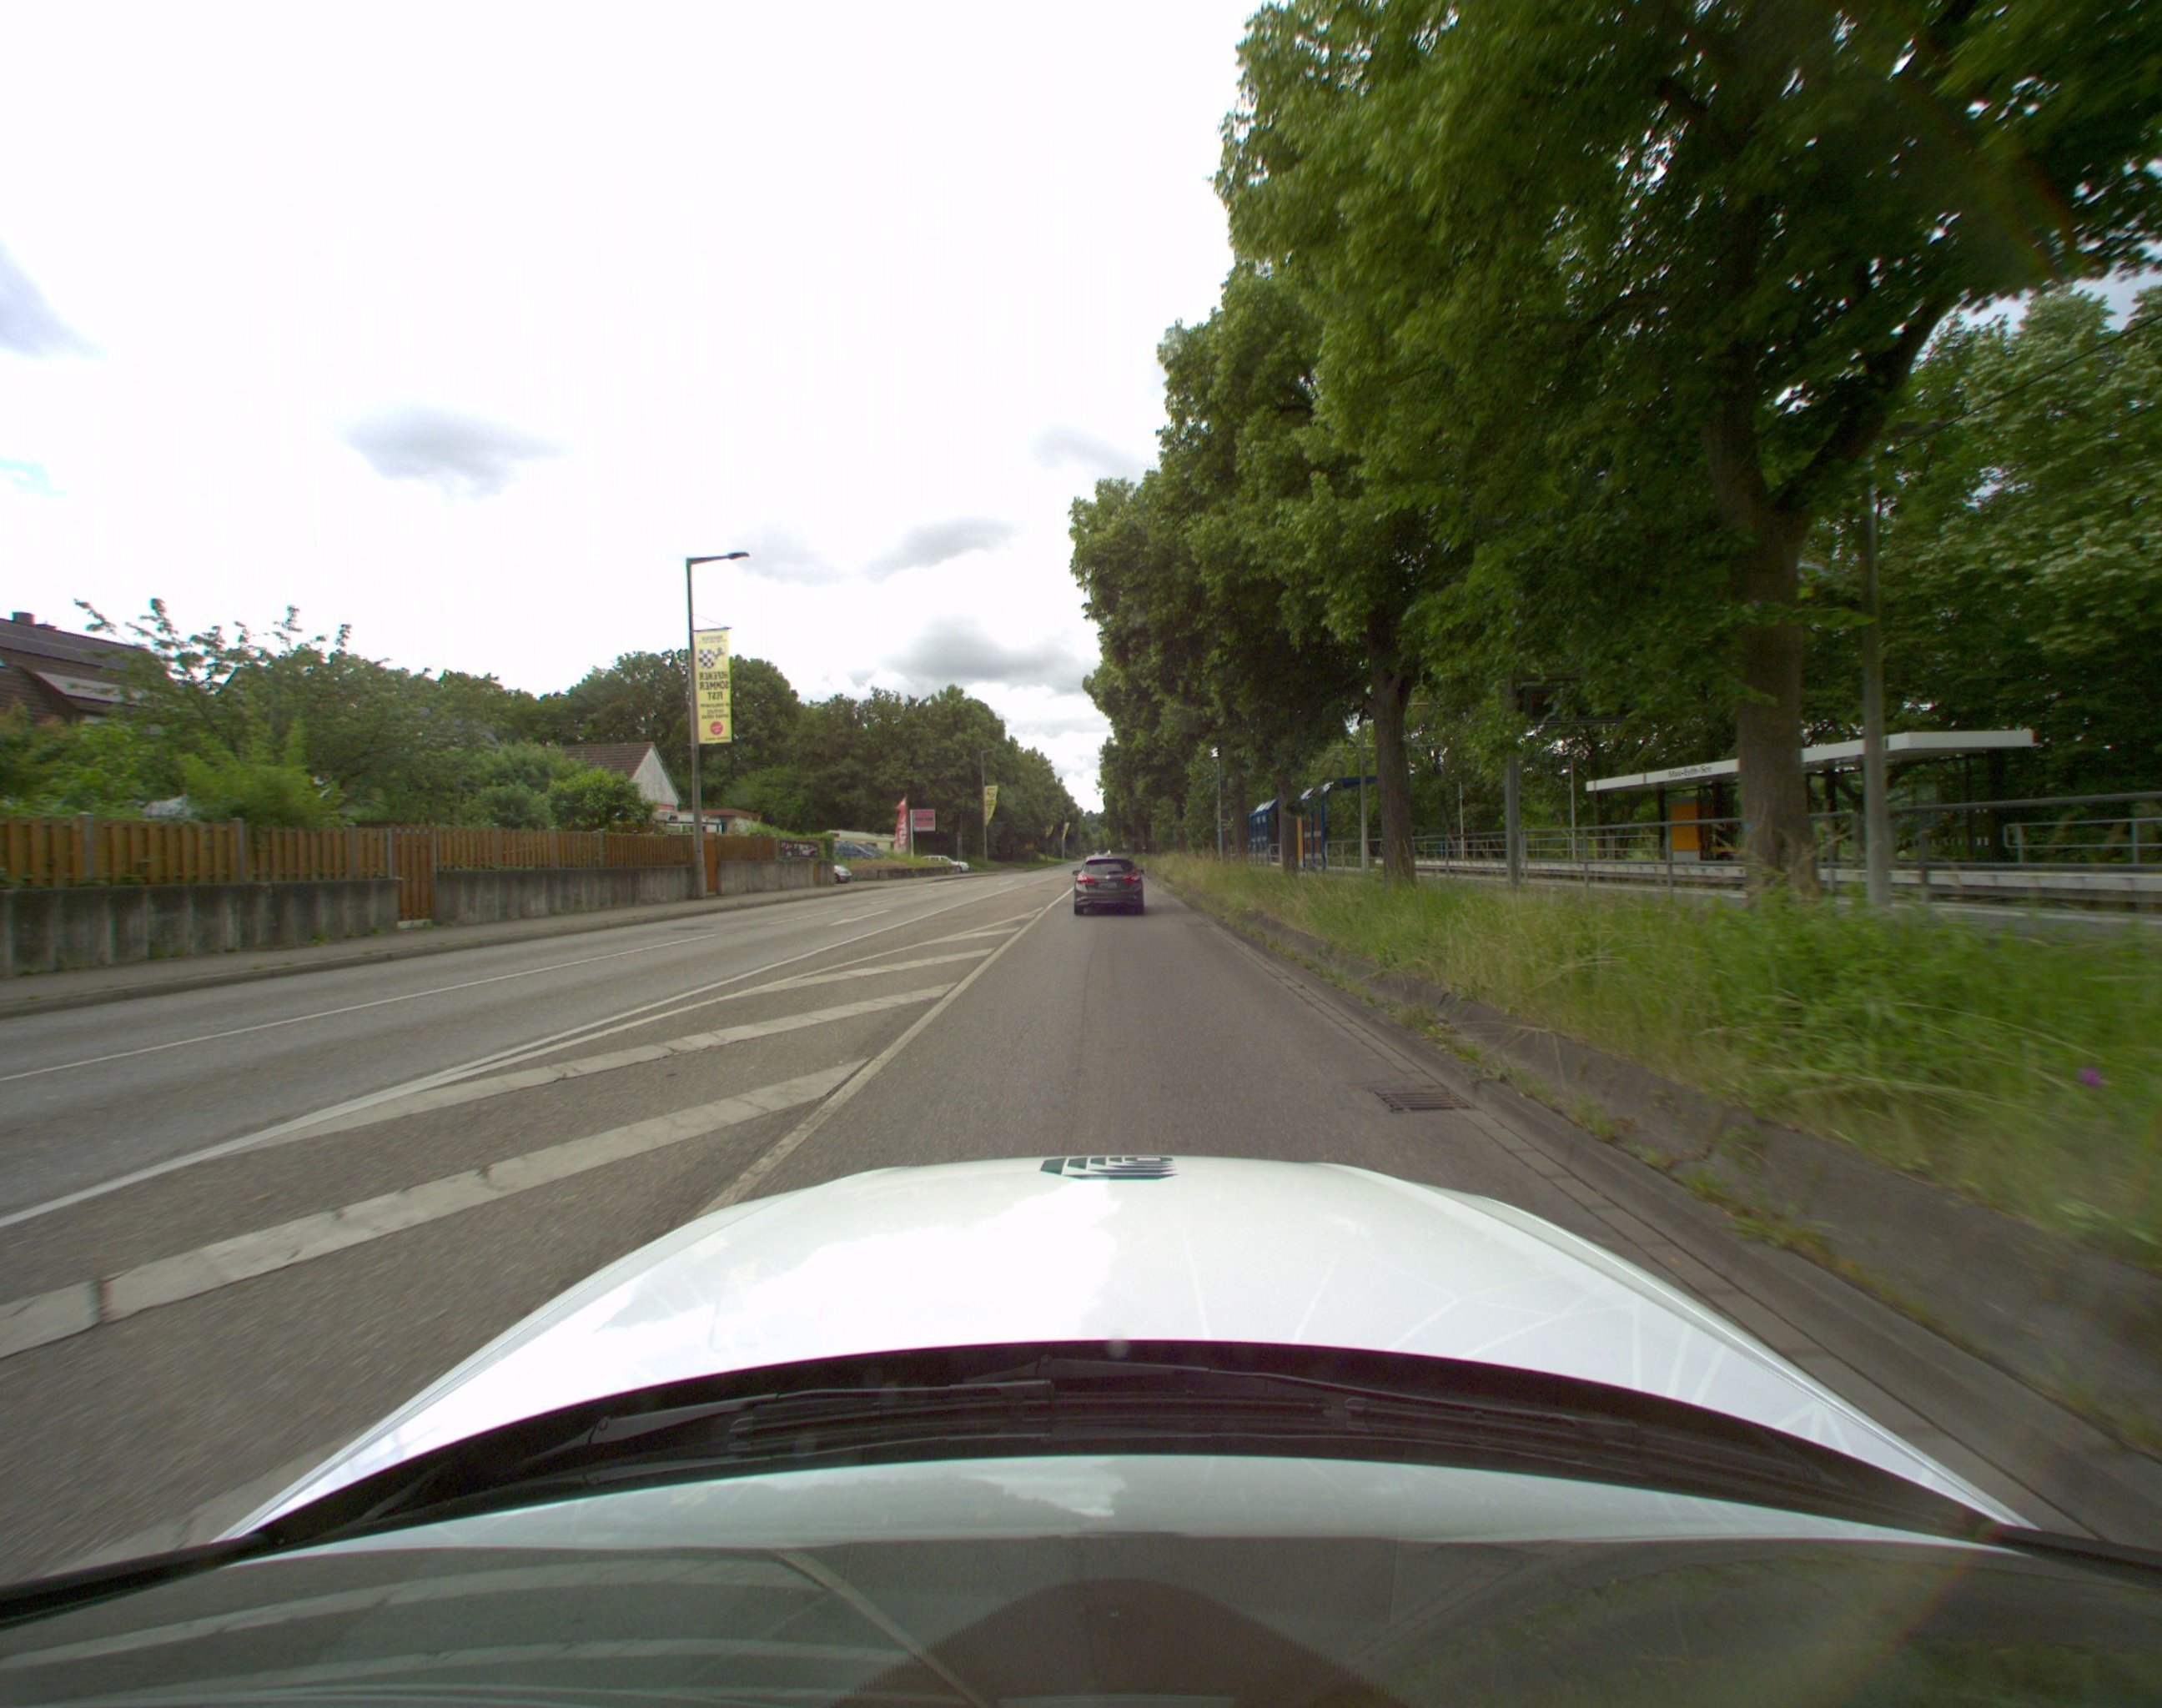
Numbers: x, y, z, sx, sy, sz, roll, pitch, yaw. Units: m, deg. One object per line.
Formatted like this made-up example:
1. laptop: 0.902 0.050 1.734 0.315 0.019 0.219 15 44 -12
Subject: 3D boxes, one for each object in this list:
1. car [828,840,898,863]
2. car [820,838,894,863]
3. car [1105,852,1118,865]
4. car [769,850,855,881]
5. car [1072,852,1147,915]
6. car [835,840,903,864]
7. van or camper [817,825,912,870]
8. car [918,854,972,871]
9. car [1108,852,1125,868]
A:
1. car: -13.914 -0.153 52.069 3.966 1.411 1.536 0 -1 6
2. car: -13.753 -0.222 50.195 3.966 1.497 1.862 0 -1 6
3. car: 3.782 0.566 100.974 1.496 1.481 3.675 0 0 4
4. car: -14.619 0.645 44.449 3.970 1.617 2.001 0 -1 3
5. car: 0.816 0.731 21.931 1.829 1.528 3.933 0 0 4
6. car: -14.039 -0.123 54.032 3.966 1.492 1.650 0 -1 6
7. van or camper: -18.611 -0.547 70.306 7.115 3.371 2.797 4 0 1
8. car: -11.719 0.730 70.357 4.361 1.441 1.961 0 0 -1
9. car: 3.433 0.552 77.718 1.496 1.528 3.675 0 0 4
